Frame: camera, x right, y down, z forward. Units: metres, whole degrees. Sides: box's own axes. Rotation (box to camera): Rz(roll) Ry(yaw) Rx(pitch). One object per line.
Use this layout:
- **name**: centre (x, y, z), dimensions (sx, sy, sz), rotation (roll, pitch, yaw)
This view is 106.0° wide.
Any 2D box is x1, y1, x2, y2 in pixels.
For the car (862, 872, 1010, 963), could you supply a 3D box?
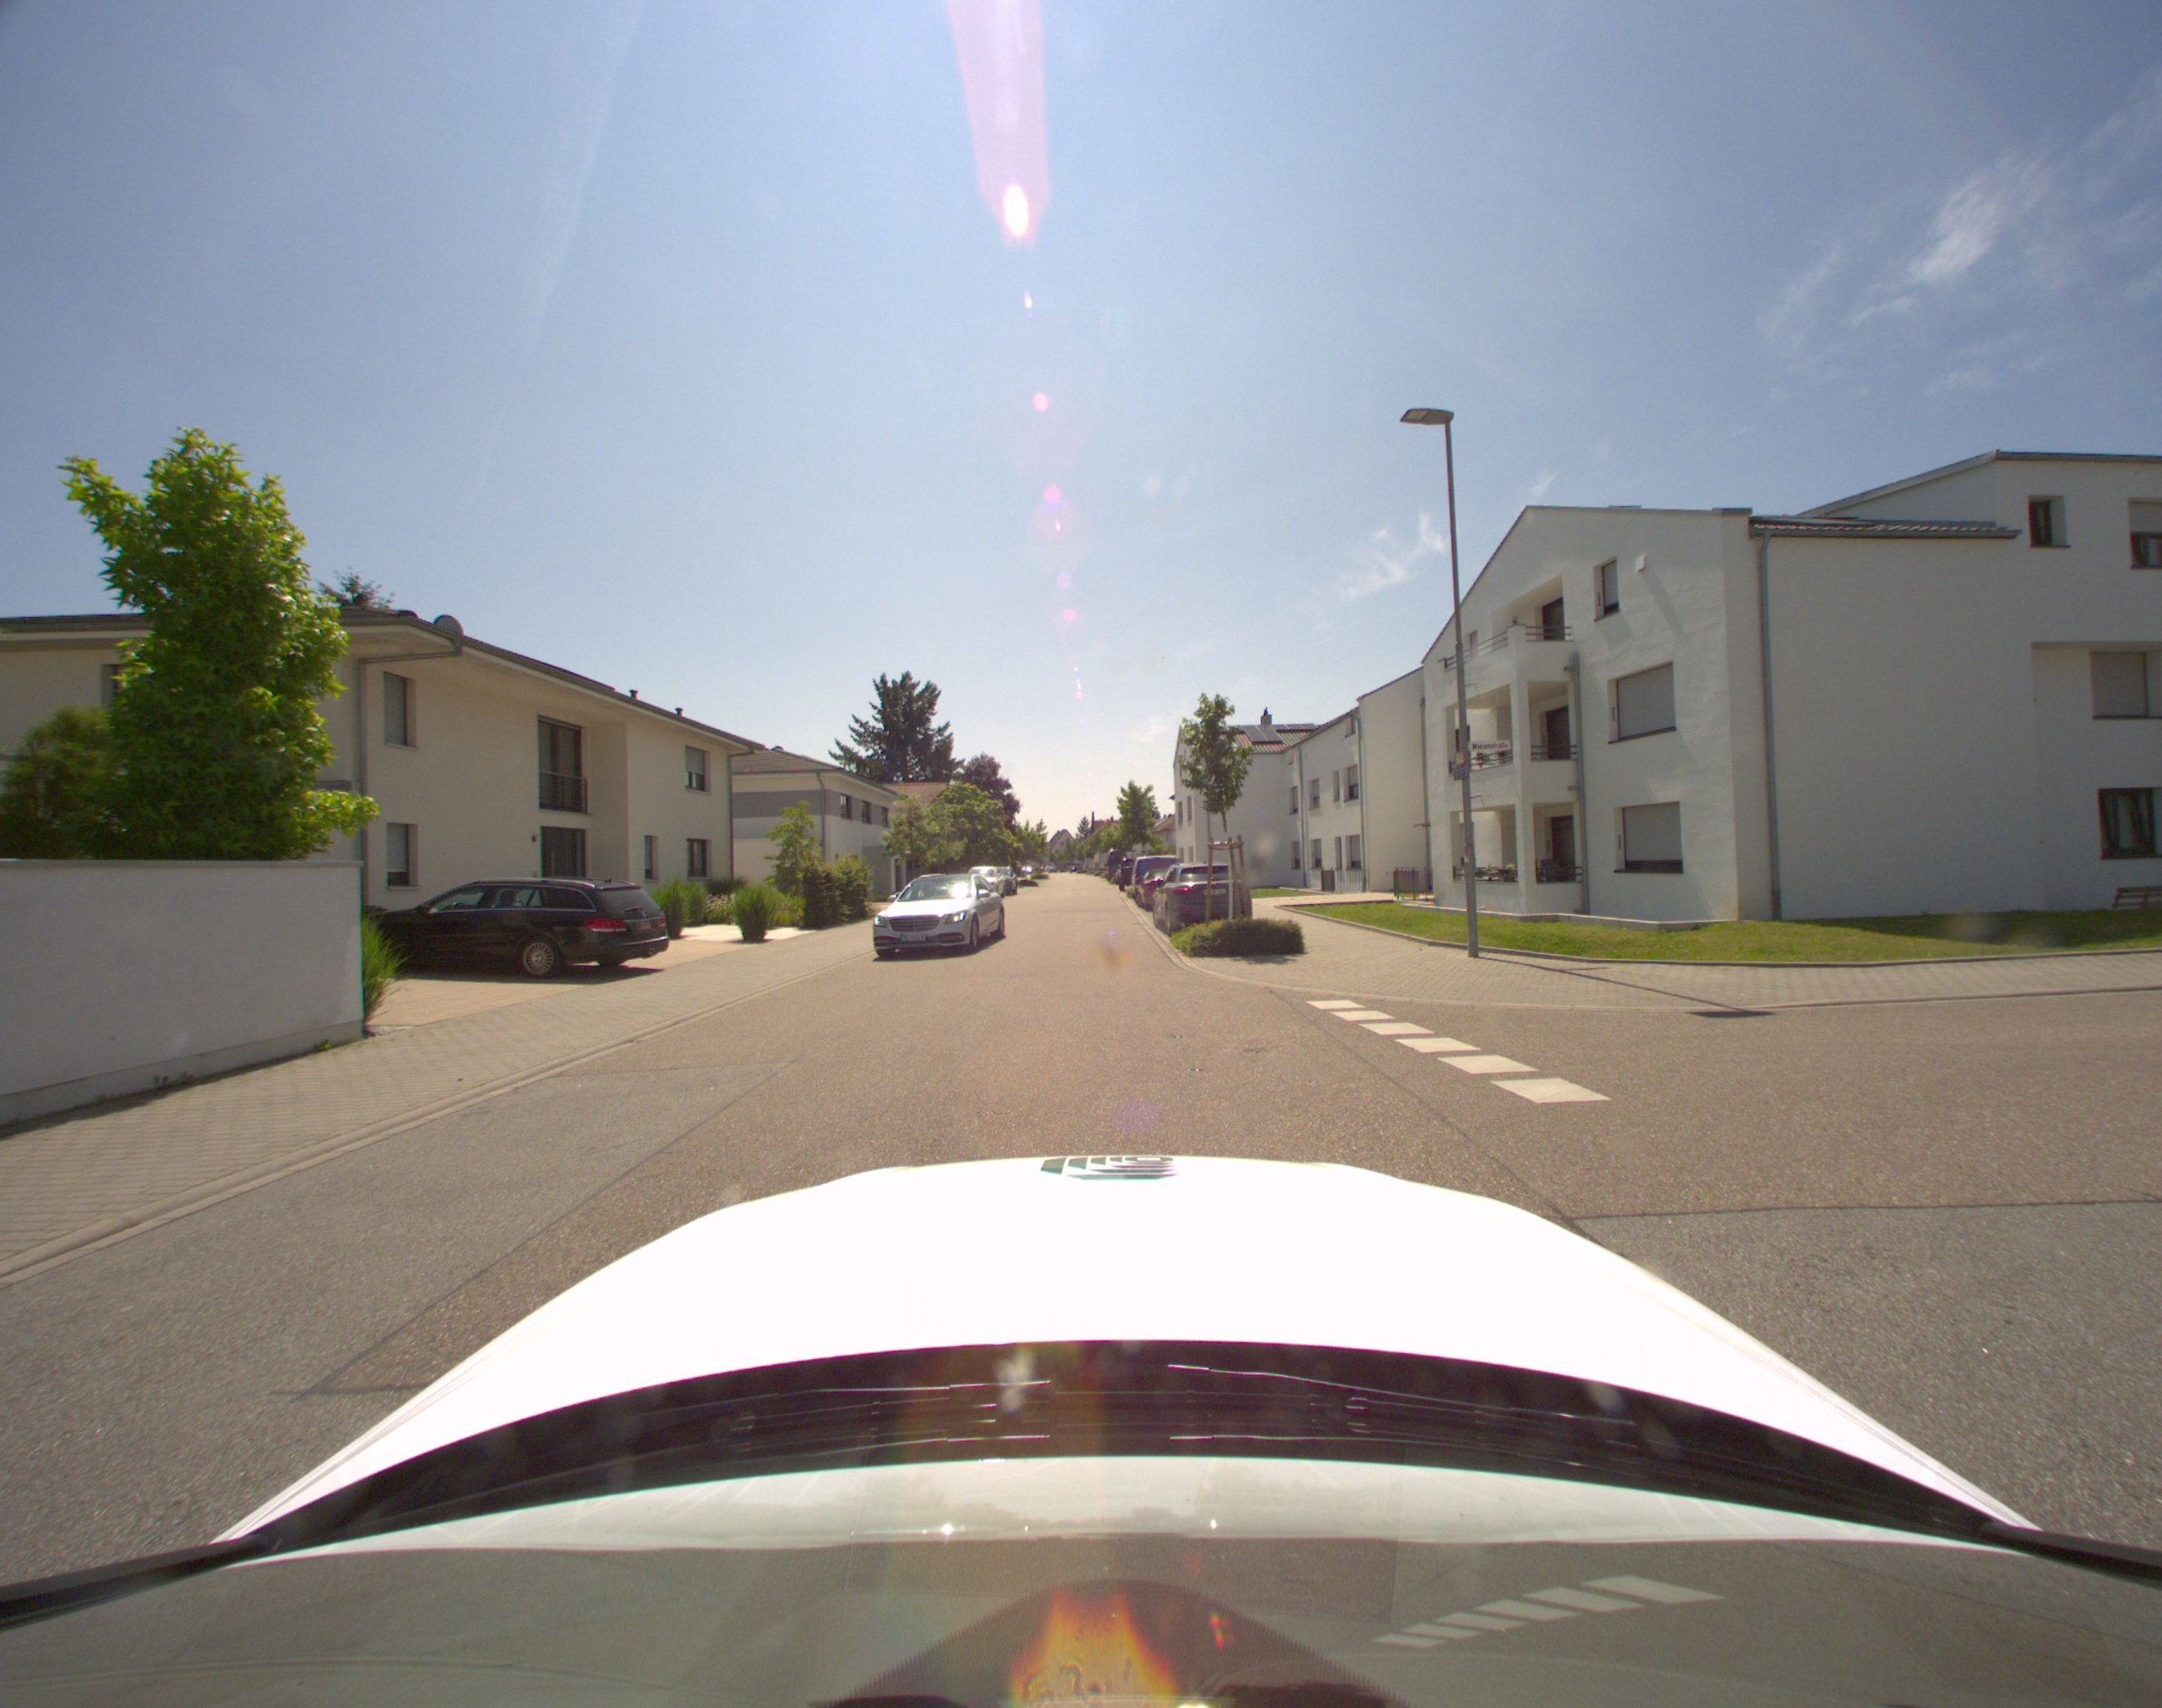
- **car**: centre (-2.777, 1.179, 16.751), dimensions (1.845, 1.478, 4.704), rotation (-3, -1, 4)

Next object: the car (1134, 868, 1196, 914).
- **car**: centre (2.901, 1.248, 28.829), dimensions (1.675, 1.442, 4.024), rotation (-2, -1, -1)

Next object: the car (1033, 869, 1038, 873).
- **car**: centre (-13.270, 5.069, 238.098), dimensions (1.188, 1.070, 3.044), rotation (-2, -1, -8)

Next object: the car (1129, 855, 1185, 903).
- **car**: centre (3.232, 1.061, 35.357), dimensions (2.091, 1.882, 4.844), rotation (-2, -1, 2)

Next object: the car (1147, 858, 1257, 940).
- **car**: centre (2.663, 0.959, 18.845), dimensions (1.768, 1.595, 4.276), rotation (-2, -1, -1)

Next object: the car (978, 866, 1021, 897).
- **car**: centre (-4.829, 1.599, 48.772), dimensions (1.986, 1.680, 4.215), rotation (-2, -1, 1)

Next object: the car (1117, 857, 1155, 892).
- **car**: centre (3.306, 1.228, 49.723), dimensions (1.986, 1.947, 5.215), rotation (-3, -1, 1)

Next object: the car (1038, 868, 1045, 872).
- **car**: centre (-11.193, 4.543, 229.381), dimensions (1.662, 1.251, 3.920), rotation (-2, -1, -8)

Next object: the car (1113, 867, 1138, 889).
- **car**: centre (3.485, 1.845, 63.988), dimensions (1.665, 1.595, 3.553), rotation (-2, -1, -1)

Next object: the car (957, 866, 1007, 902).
- **car**: centre (-5.066, 1.506, 42.368), dimensions (1.920, 1.687, 4.499), rotation (-2, -1, 1)

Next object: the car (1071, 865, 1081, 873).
- **car**: centre (-0.983, 3.138, 168.840), dimensions (1.986, 1.574, 4.000), rotation (-3, -1, 1)

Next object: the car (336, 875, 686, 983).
- **car**: centre (-9.105, 1.153, 13.246), dimensions (4.408, 1.473, 1.853), rotation (1, -1, 4)

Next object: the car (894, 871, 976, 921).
- **car**: centre (-4.840, 1.363, 27.643), dimensions (1.845, 1.488, 4.386), rotation (-2, -1, 1)

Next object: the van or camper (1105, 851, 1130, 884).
- **van or camper**: centre (3.314, 1.236, 74.540), dimensions (1.987, 2.941, 4.000), rotation (-2, -1, 1)
